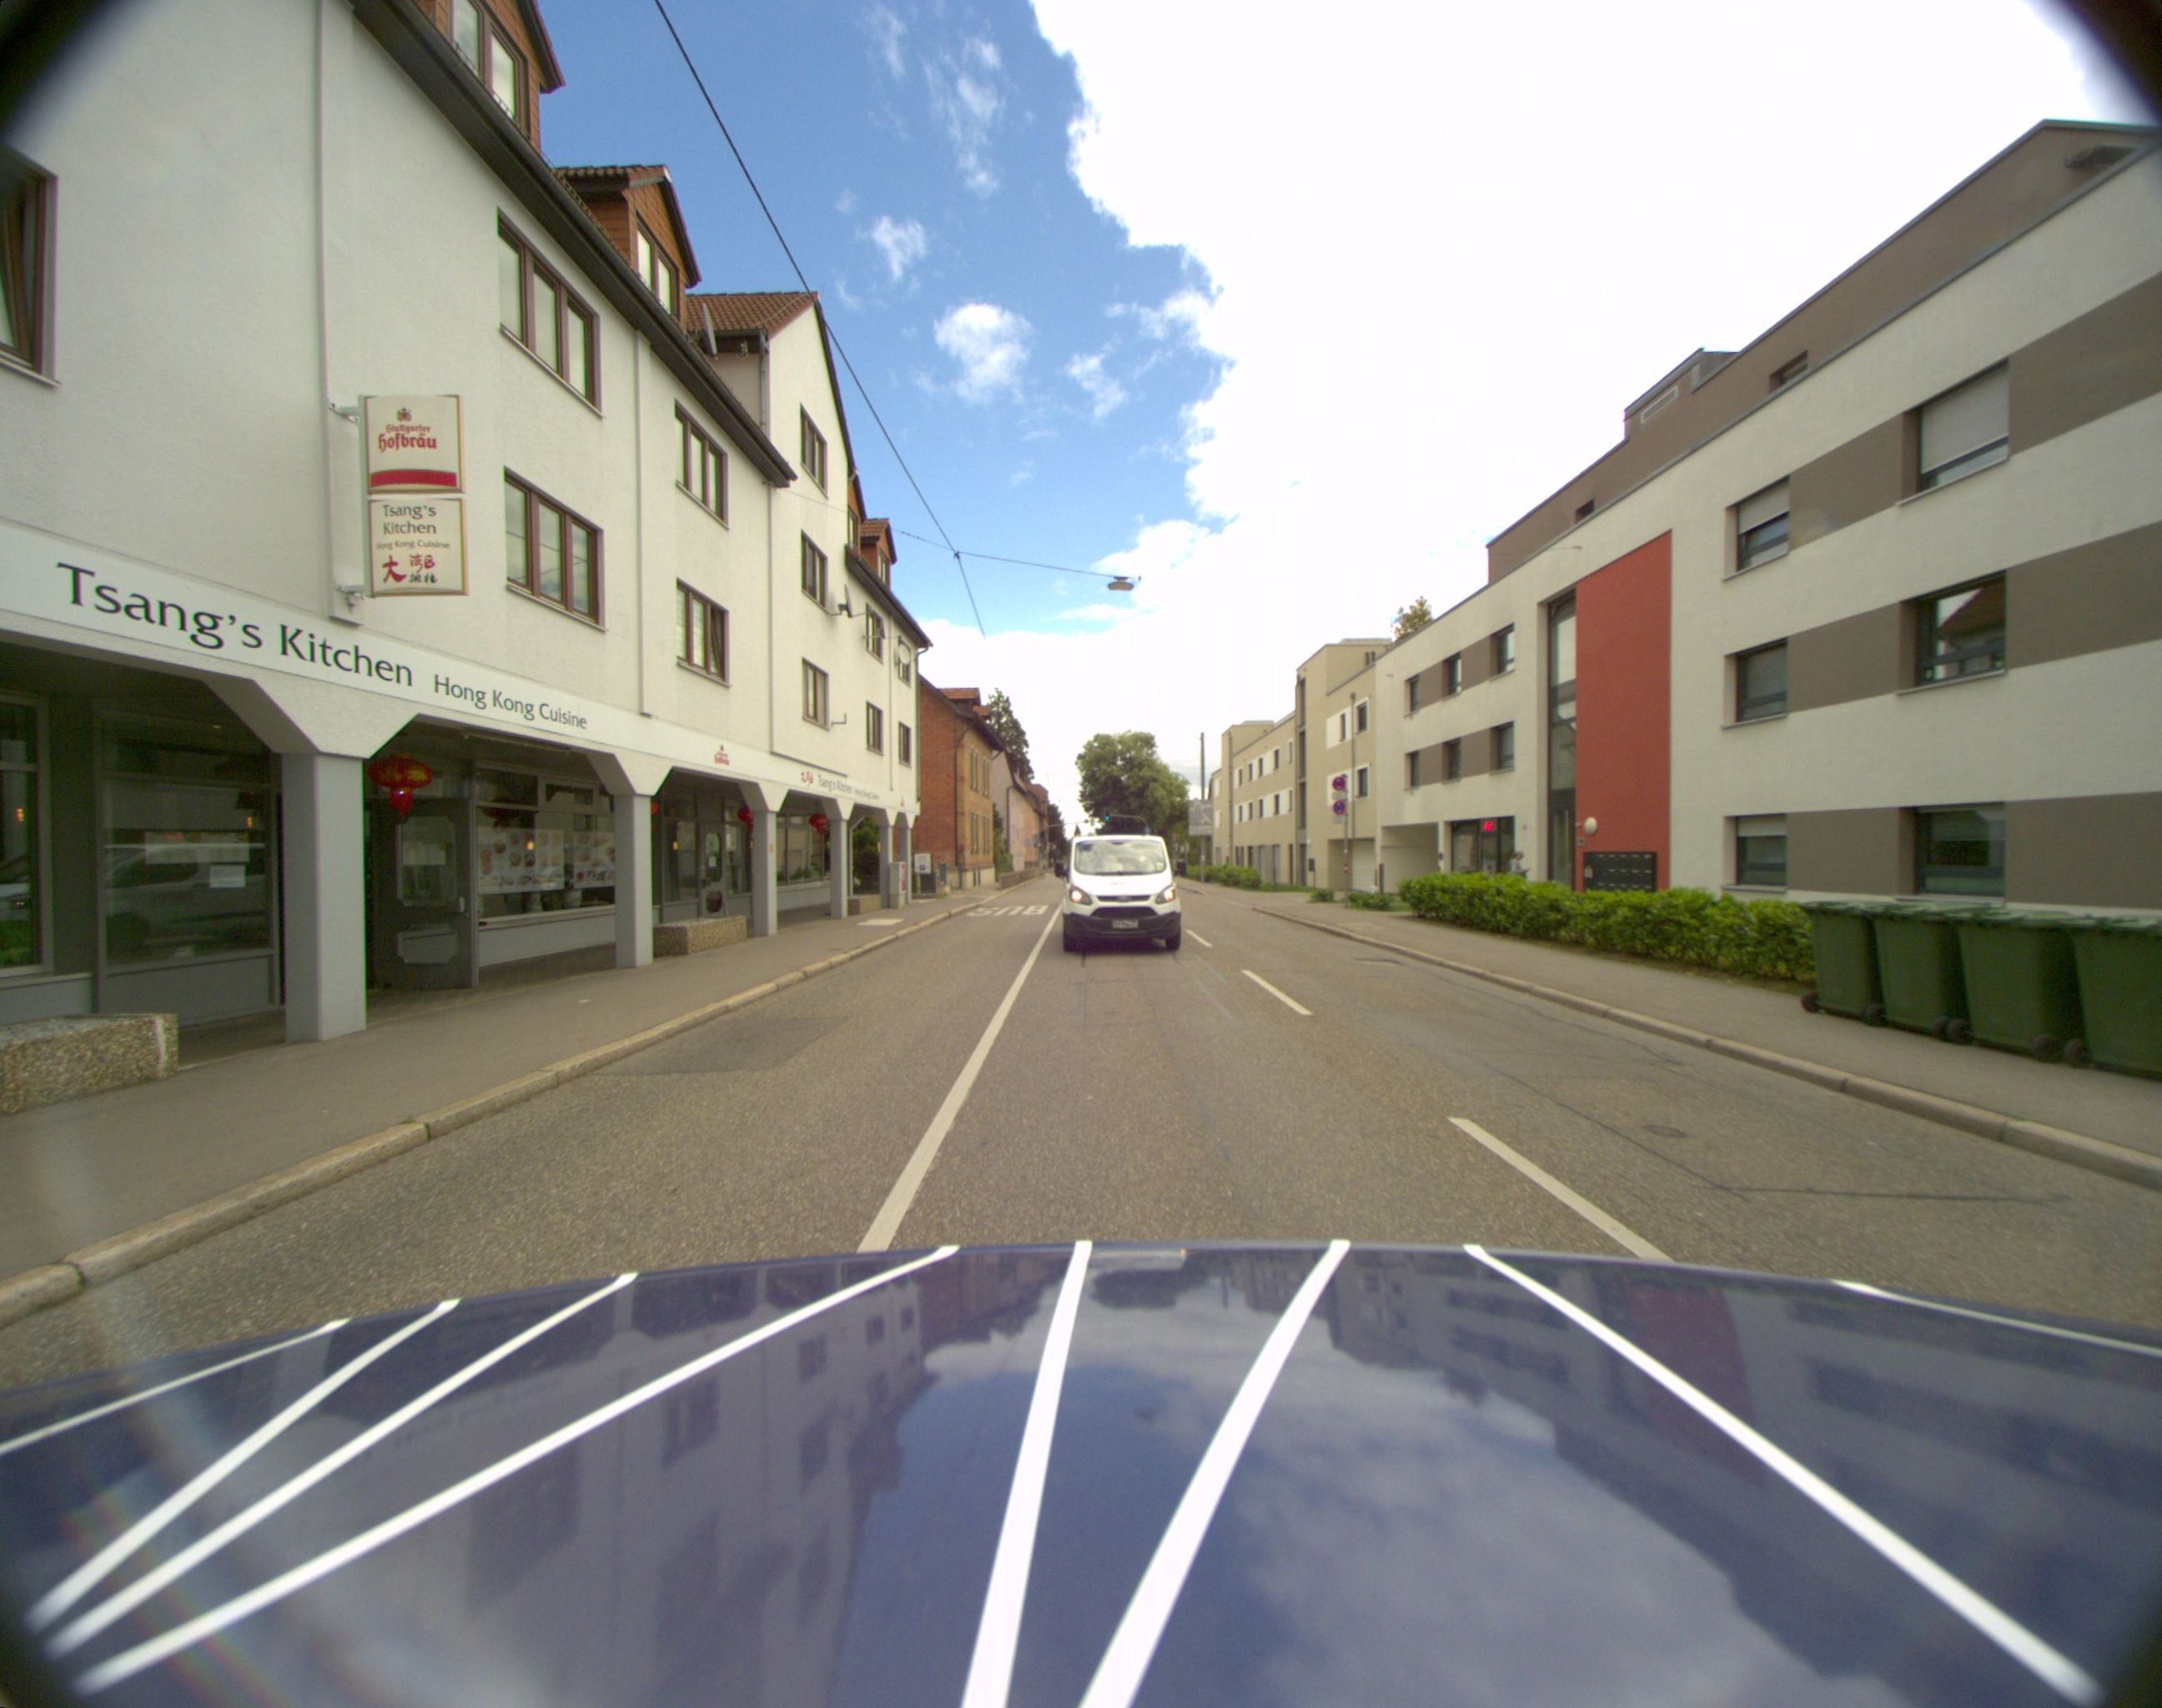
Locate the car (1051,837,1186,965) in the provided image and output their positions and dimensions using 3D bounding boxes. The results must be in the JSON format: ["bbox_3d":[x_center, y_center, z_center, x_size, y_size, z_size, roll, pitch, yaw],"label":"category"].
[{"bbox_3d":[0.587,0.723,14.275,2.062,1.945,5.060,-1,0,0],"label":"car"}]

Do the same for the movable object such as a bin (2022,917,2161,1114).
[{"bbox_3d":[7.138,1.028,5.017,0.951,1.144,0.749,-1,0,-4],"label":"movable object such as a bin"}]

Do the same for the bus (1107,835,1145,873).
[{"bbox_3d":[4.105,0.007,71.393,2.950,3.254,12.008,1,0,1],"label":"bus"}]

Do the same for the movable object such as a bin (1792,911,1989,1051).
[{"bbox_3d":[7.069,1.078,6.678,0.897,1.082,0.792,-1,0,-4],"label":"movable object such as a bin"}]

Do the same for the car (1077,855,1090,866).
[{"bbox_3d":[0.393,0.874,105.193,1.755,1.485,3.986,-1,0,0],"label":"car"}]

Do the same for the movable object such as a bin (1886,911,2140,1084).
[{"bbox_3d":[7.105,1.054,5.844,0.959,1.144,0.840,-1,0,-4],"label":"movable object such as a bin"}]

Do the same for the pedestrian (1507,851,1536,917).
[{"bbox_3d":[11.145,0.756,19.238,0.519,1.633,0.641,-1,1,21],"label":"pedestrian"}]
